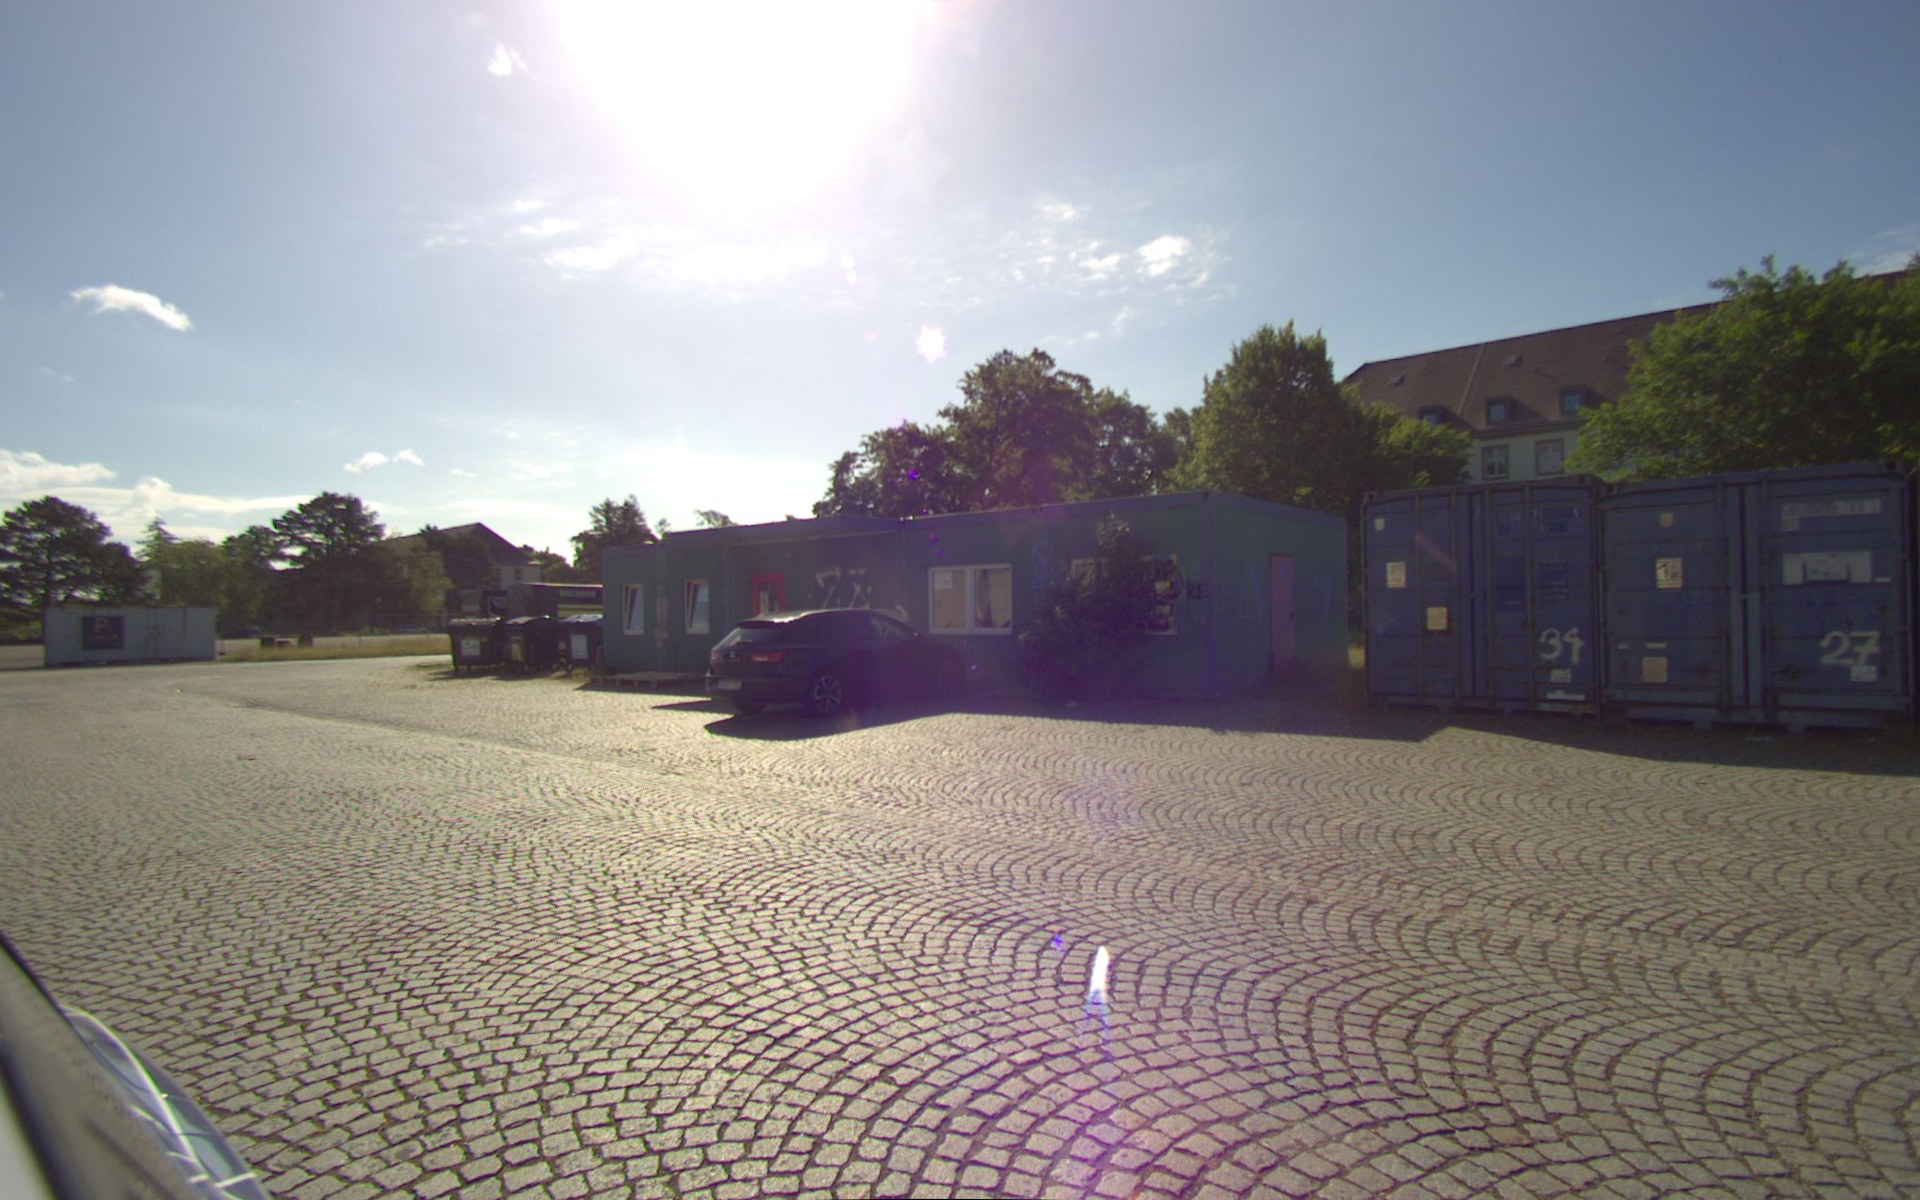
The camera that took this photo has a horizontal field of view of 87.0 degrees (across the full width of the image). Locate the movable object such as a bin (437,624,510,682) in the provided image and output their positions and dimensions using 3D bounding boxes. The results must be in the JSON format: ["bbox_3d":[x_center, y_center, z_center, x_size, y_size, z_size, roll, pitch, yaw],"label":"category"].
[{"bbox_3d":[-12.959,1.397,27.015,1.416,1.469,1.157,-1,0,-6],"label":"movable object such as a bin"}]

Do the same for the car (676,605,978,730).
[{"bbox_3d":[-1.799,0.861,14.835,1.930,1.460,4.209,-1,0,39],"label":"car"}]

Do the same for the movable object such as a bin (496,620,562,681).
[{"bbox_3d":[-11.066,1.275,25.977,1.440,1.469,1.007,-1,0,41],"label":"movable object such as a bin"}]

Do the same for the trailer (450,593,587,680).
[{"bbox_3d":[-13.740,1.077,31.610,2.044,2.488,3.349,-1,0,42],"label":"trailer"}]

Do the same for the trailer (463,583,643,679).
[{"bbox_3d":[-11.938,0.836,29.957,1.948,2.587,4.593,-1,0,37],"label":"trailer"}]

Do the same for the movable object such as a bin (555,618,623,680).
[{"bbox_3d":[-9.328,1.216,25.417,1.435,1.469,0.876,-1,0,31],"label":"movable object such as a bin"}]
